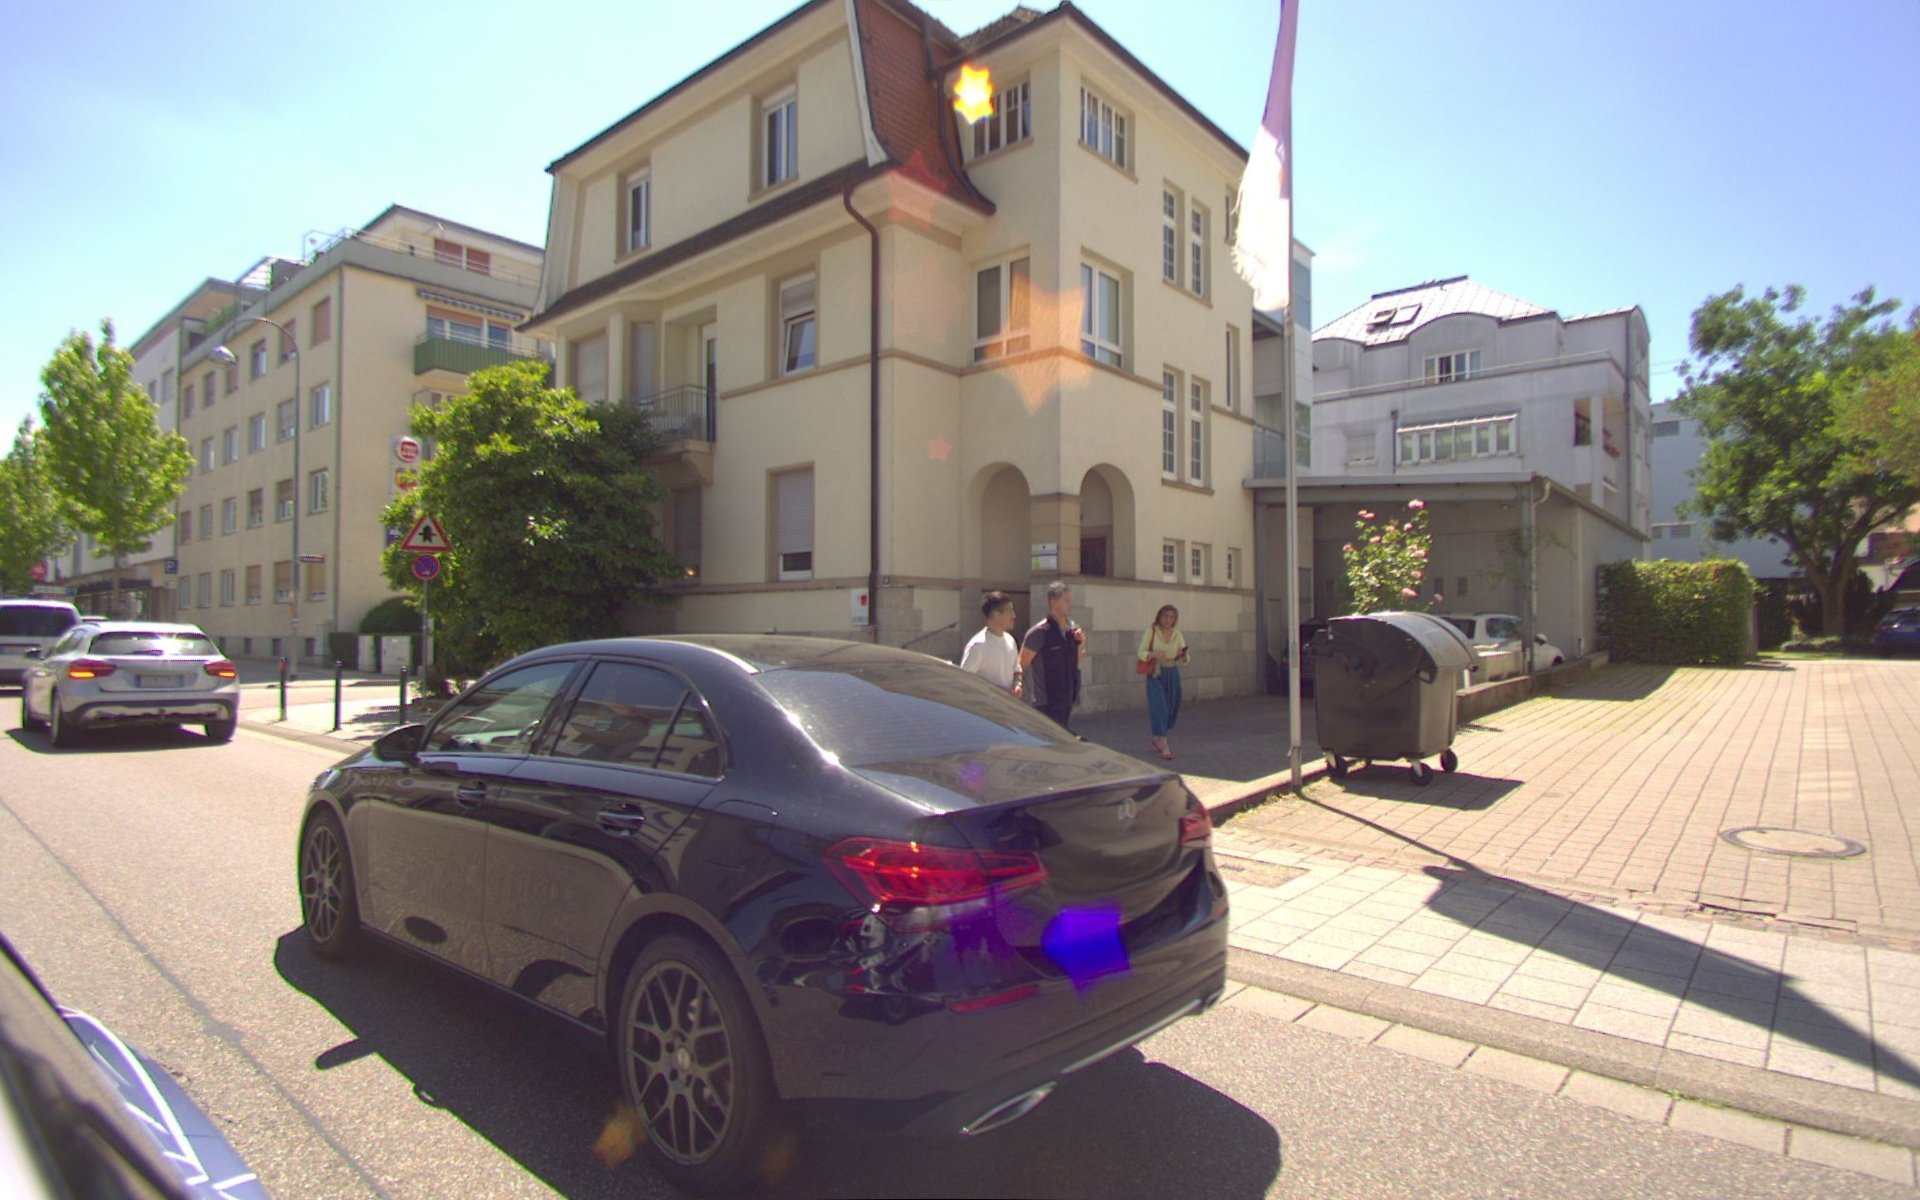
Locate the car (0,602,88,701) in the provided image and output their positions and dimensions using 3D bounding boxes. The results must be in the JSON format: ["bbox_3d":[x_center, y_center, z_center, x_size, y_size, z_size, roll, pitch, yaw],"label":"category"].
[{"bbox_3d":[-19.189,1.004,20.483,4.229,1.840,1.684,-1,-4,41],"label":"car"}]

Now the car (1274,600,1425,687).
[{"bbox_3d":[7.971,0.826,20.532,1.792,1.592,3.829,0,-1,38],"label":"car"}]

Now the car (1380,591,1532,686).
[{"bbox_3d":[9.460,0.706,19.162,1.792,1.592,3.829,-1,-2,39],"label":"car"}]

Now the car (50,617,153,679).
[{"bbox_3d":[-25.382,1.362,29.881,4.292,1.683,1.709,-1,-1,41],"label":"car"}]

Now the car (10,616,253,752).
[{"bbox_3d":[-11.051,1.005,13.404,4.029,1.522,1.810,-1,-3,41],"label":"car"}]

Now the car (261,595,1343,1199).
[{"bbox_3d":[-0.981,0.802,3.931,4.260,1.522,1.810,0,-3,41],"label":"car"}]

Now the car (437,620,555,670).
[{"bbox_3d":[-14.891,1.426,32.446,3.740,1.519,1.732,-1,-2,33],"label":"car"}]

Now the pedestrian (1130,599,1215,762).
[{"bbox_3d":[2.297,0.847,10.954,0.734,1.687,0.534,-1,-3,41],"label":"pedestrian"}]

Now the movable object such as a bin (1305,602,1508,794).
[{"bbox_3d":[4.011,0.795,9.063,1.294,1.499,1.372,-1,1,41],"label":"movable object such as a bin"}]

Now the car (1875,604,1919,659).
[{"bbox_3d":[30.548,0.975,31.400,3.866,1.674,1.862,1,-2,-26],"label":"car"}]

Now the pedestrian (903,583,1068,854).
[{"bbox_3d":[0.166,0.743,6.835,0.903,1.689,0.614,-1,0,41],"label":"pedestrian"}]

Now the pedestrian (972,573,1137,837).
[{"bbox_3d":[0.691,0.722,7.445,0.950,1.784,0.740,-1,-2,40],"label":"pedestrian"}]
